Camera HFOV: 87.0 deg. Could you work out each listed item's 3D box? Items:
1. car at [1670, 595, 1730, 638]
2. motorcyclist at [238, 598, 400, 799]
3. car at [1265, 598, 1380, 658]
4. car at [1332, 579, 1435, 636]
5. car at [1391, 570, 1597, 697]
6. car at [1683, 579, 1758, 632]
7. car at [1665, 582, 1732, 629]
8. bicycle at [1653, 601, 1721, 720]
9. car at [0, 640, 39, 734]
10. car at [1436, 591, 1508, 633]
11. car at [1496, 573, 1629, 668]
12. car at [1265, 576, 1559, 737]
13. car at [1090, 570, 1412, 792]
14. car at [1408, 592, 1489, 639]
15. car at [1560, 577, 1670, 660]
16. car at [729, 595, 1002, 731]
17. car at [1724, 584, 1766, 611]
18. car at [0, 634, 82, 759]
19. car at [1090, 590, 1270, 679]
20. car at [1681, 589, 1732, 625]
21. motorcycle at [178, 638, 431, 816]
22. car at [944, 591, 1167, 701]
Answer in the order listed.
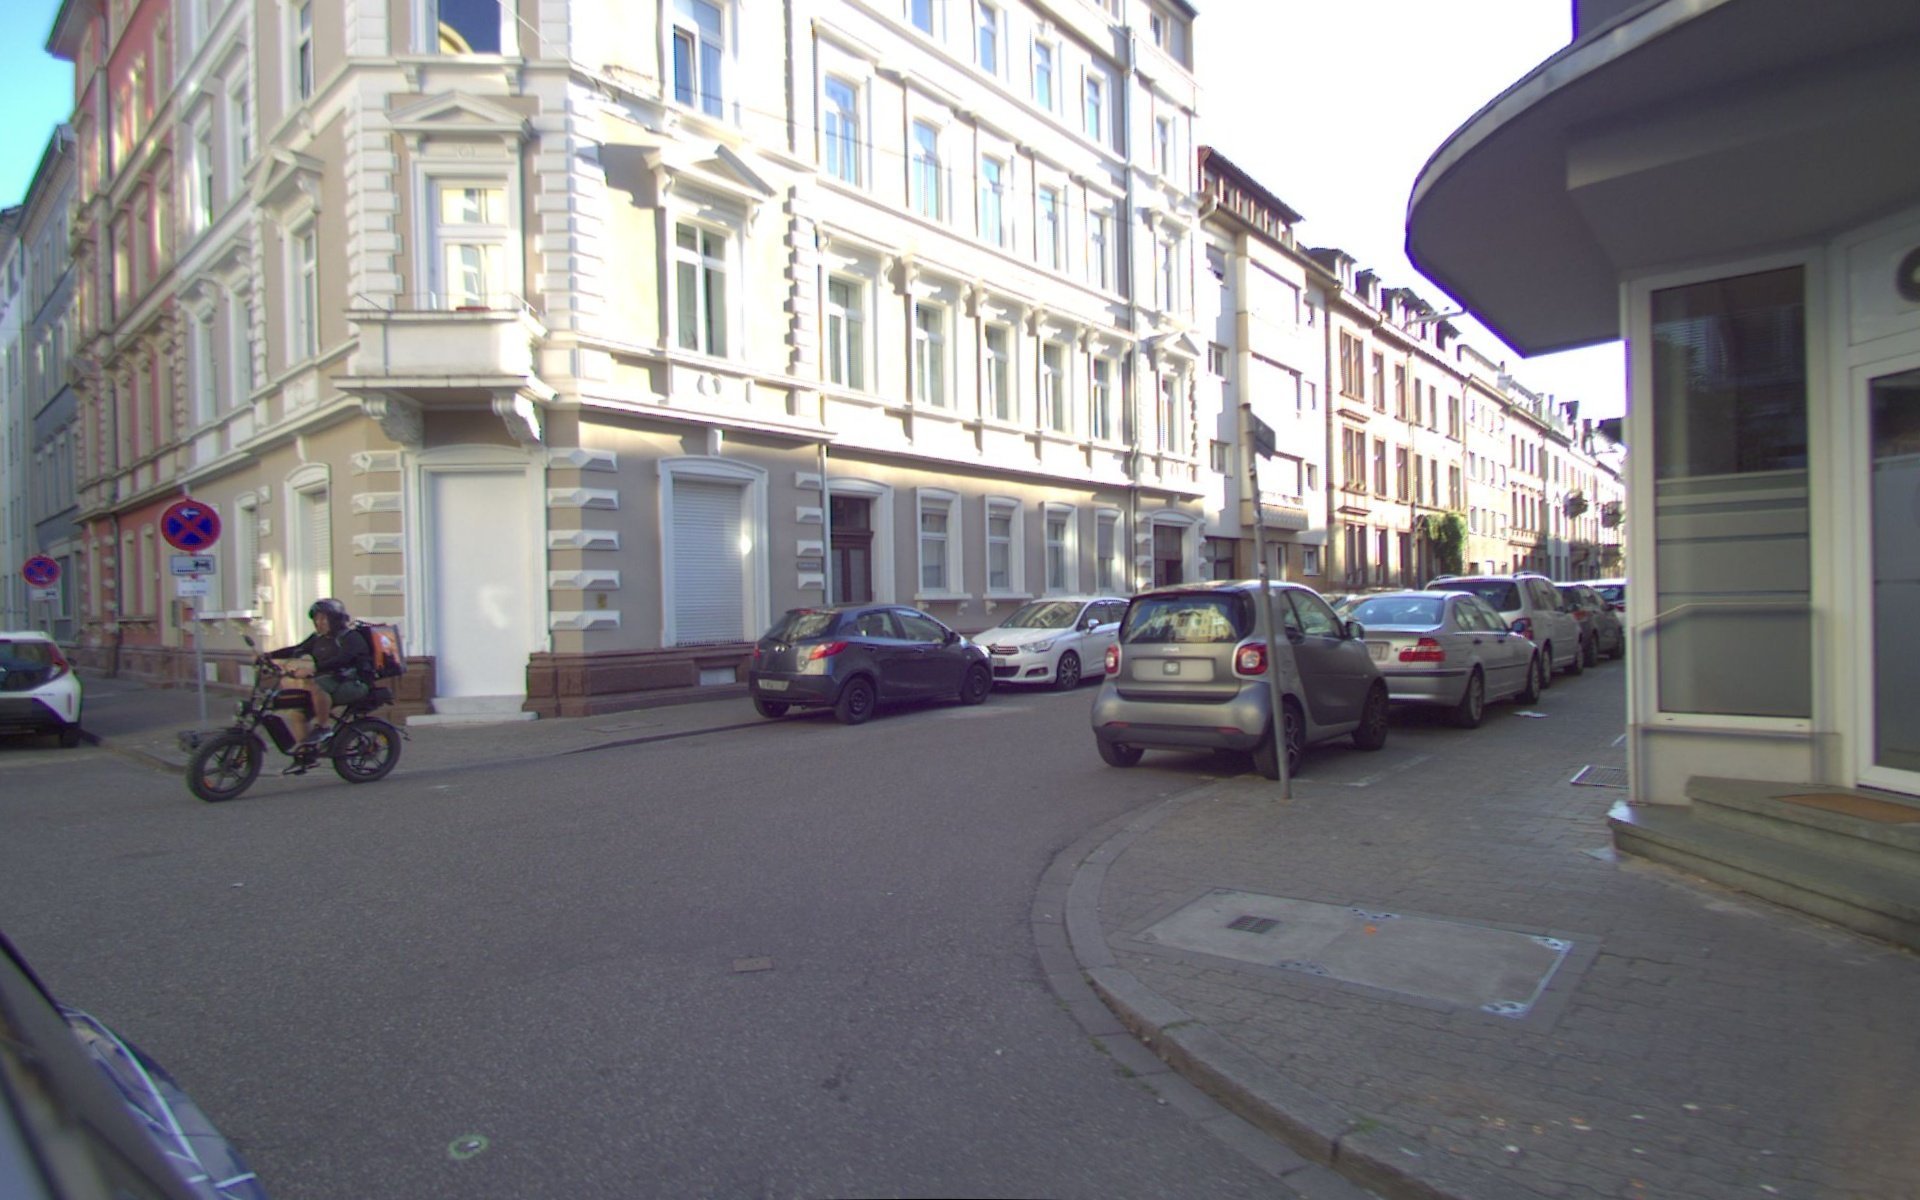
[{"bbox_3d":[30.819,0.665,42.105,1.833,1.572,4.041,-2,0,38],"label":"car"},{"bbox_3d":[-5.606,0.817,8.847,0.984,1.579,0.875,-4,0,-42],"label":"motorcyclist"},{"bbox_3d":[9.729,0.706,27.041,1.833,1.413,3.549,-2,0,38],"label":"car"},{"bbox_3d":[12.868,0.188,30.634,1.833,1.572,4.041,-2,0,38],"label":"car"},{"bbox_3d":[8.309,0.420,15.567,1.998,1.666,4.039,-2,0,39],"label":"car"},{"bbox_3d":[24.800,0.150,32.987,1.833,1.572,4.041,-2,0,38],"label":"car"},{"bbox_3d":[27.396,0.189,37.506,1.833,1.572,4.041,-2,0,38],"label":"car"},{"bbox_3d":[8.195,0.626,11.380,0.488,1.145,2.031,-2,1,39],"label":"bicycle"},{"bbox_3d":[-16.734,1.396,16.800,3.959,1.439,1.593,-2,-3,40],"label":"car"},{"bbox_3d":[20.826,0.463,41.064,1.833,1.572,4.041,-2,0,38],"label":"car"},{"bbox_3d":[11.421,0.322,19.065,1.625,1.572,4.041,-2,0,38],"label":"car"},{"bbox_3d":[5.344,0.513,11.656,1.967,1.464,4.206,-2,0,40],"label":"car"},{"bbox_3d":[2.597,0.564,8.770,1.648,1.577,2.726,-2,0,41],"label":"car"},{"bbox_3d":[18.153,0.537,37.524,1.833,1.572,4.041,-2,0,38],"label":"car"},{"bbox_3d":[14.479,0.358,22.285,1.656,1.656,3.560,-2,0,39],"label":"car"},{"bbox_3d":[-1.134,0.732,13.451,1.684,1.490,3.547,-2,0,35],"label":"car"},{"bbox_3d":[52.789,-0.199,68.023,1.999,1.636,4.523,-2,0,40],"label":"car"},{"bbox_3d":[-13.116,1.202,13.509,3.844,1.507,1.666,-2,-4,43],"label":"car"},{"bbox_3d":[4.608,0.646,20.816,2.007,1.572,4.040,-2,0,39],"label":"car"},{"bbox_3d":[36.003,0.316,48.758,1.833,1.572,4.041,-2,0,38],"label":"car"},{"bbox_3d":[-5.640,1.030,8.764,1.673,1.259,0.808,-4,0,-43],"label":"motorcycle"},{"bbox_3d":[1.730,0.692,17.144,1.833,1.572,4.041,-2,0,38],"label":"car"}]
